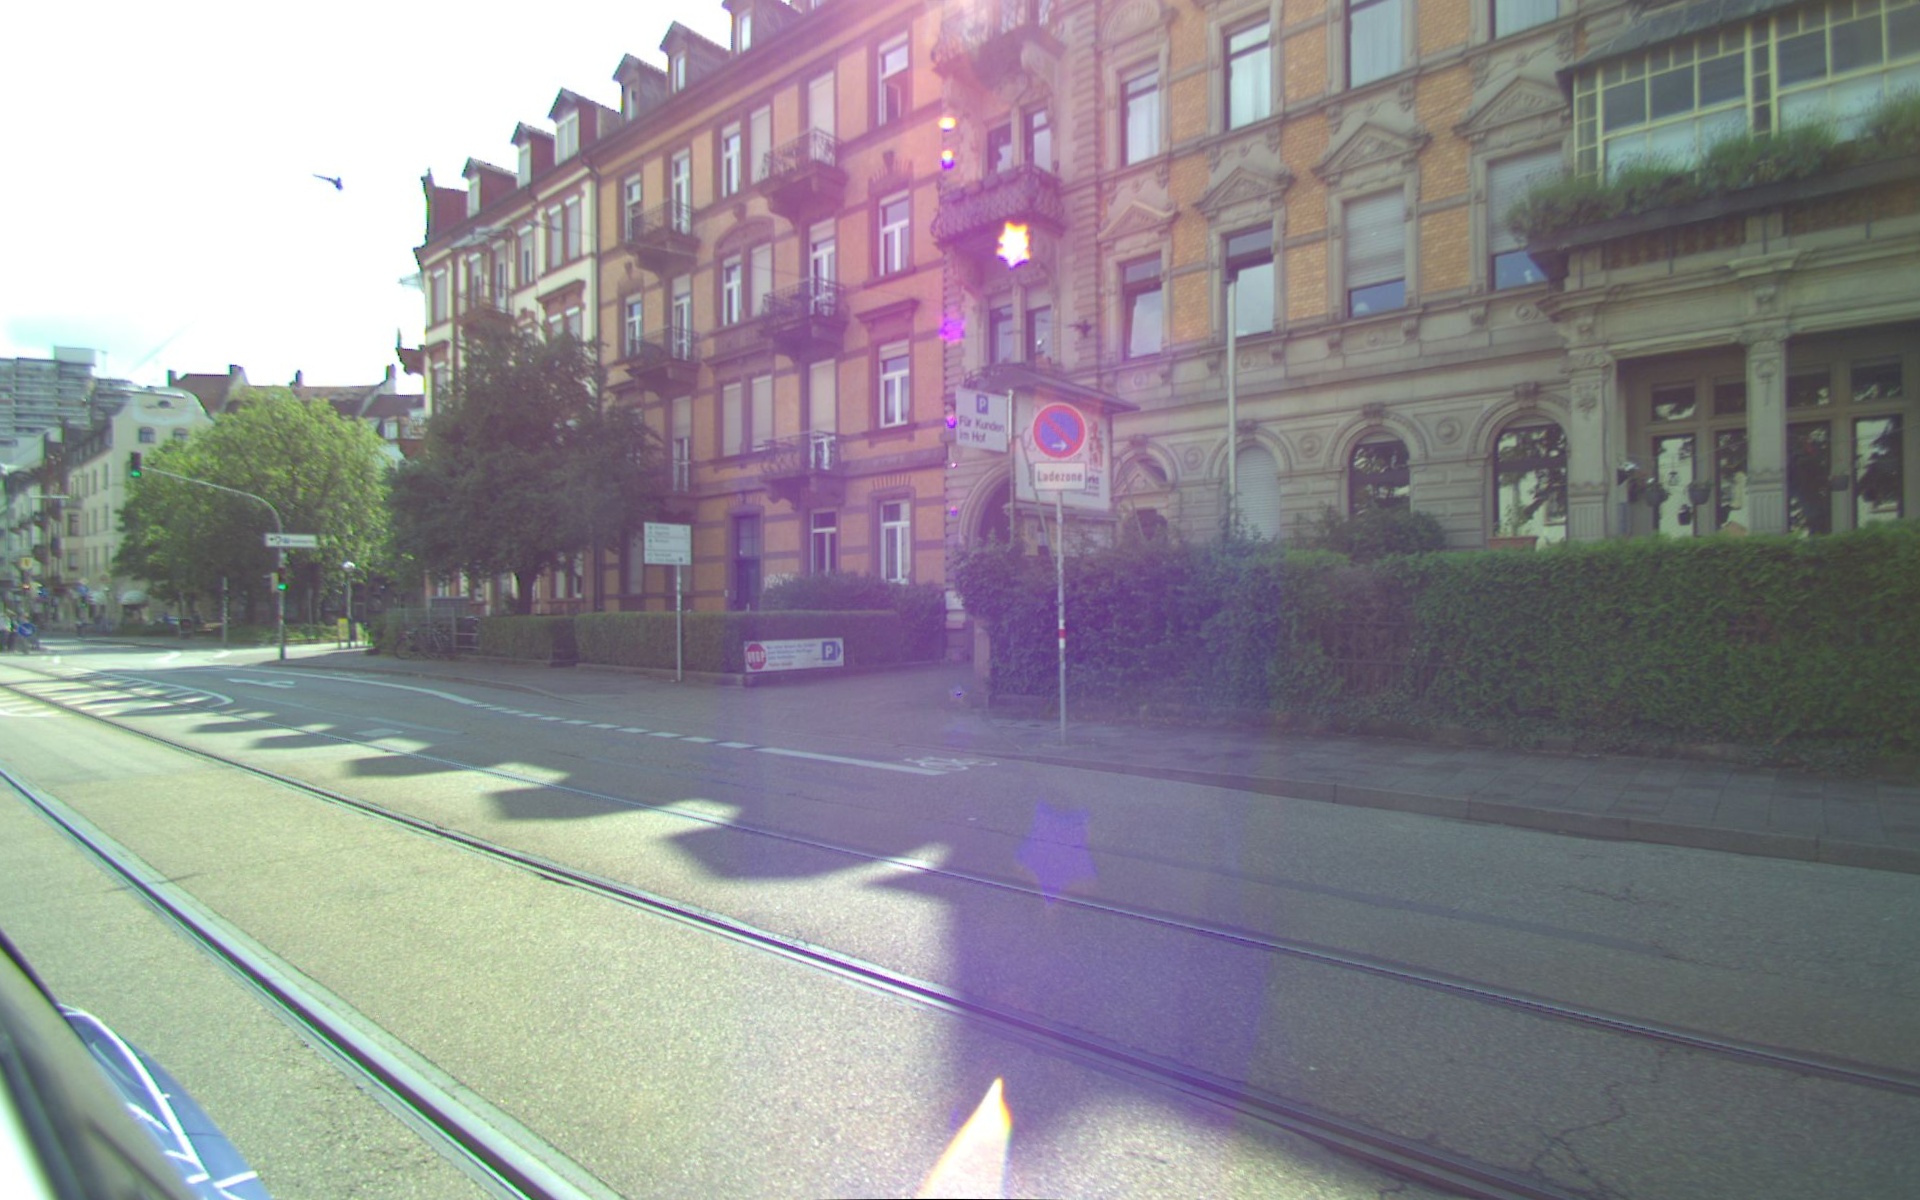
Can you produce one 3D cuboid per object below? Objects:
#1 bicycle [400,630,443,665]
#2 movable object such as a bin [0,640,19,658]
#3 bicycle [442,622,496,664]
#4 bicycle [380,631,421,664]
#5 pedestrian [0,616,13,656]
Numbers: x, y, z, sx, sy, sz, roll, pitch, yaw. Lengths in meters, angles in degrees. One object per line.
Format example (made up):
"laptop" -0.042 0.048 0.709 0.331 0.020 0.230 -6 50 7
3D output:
"bicycle" -15.471 1.353 29.059 1.826 0.939 0.553 -1 -1 44
"movable object such as a bin" -38.536 1.977 40.970 0.455 0.723 0.508 -1 -1 27
"bicycle" -13.758 1.195 28.377 0.496 1.140 1.292 -1 -1 39
"bicycle" -16.786 1.397 30.332 1.826 0.939 0.553 -1 -1 44
"pedestrian" -38.261 1.443 40.176 0.690 1.586 0.775 -1 -1 27
